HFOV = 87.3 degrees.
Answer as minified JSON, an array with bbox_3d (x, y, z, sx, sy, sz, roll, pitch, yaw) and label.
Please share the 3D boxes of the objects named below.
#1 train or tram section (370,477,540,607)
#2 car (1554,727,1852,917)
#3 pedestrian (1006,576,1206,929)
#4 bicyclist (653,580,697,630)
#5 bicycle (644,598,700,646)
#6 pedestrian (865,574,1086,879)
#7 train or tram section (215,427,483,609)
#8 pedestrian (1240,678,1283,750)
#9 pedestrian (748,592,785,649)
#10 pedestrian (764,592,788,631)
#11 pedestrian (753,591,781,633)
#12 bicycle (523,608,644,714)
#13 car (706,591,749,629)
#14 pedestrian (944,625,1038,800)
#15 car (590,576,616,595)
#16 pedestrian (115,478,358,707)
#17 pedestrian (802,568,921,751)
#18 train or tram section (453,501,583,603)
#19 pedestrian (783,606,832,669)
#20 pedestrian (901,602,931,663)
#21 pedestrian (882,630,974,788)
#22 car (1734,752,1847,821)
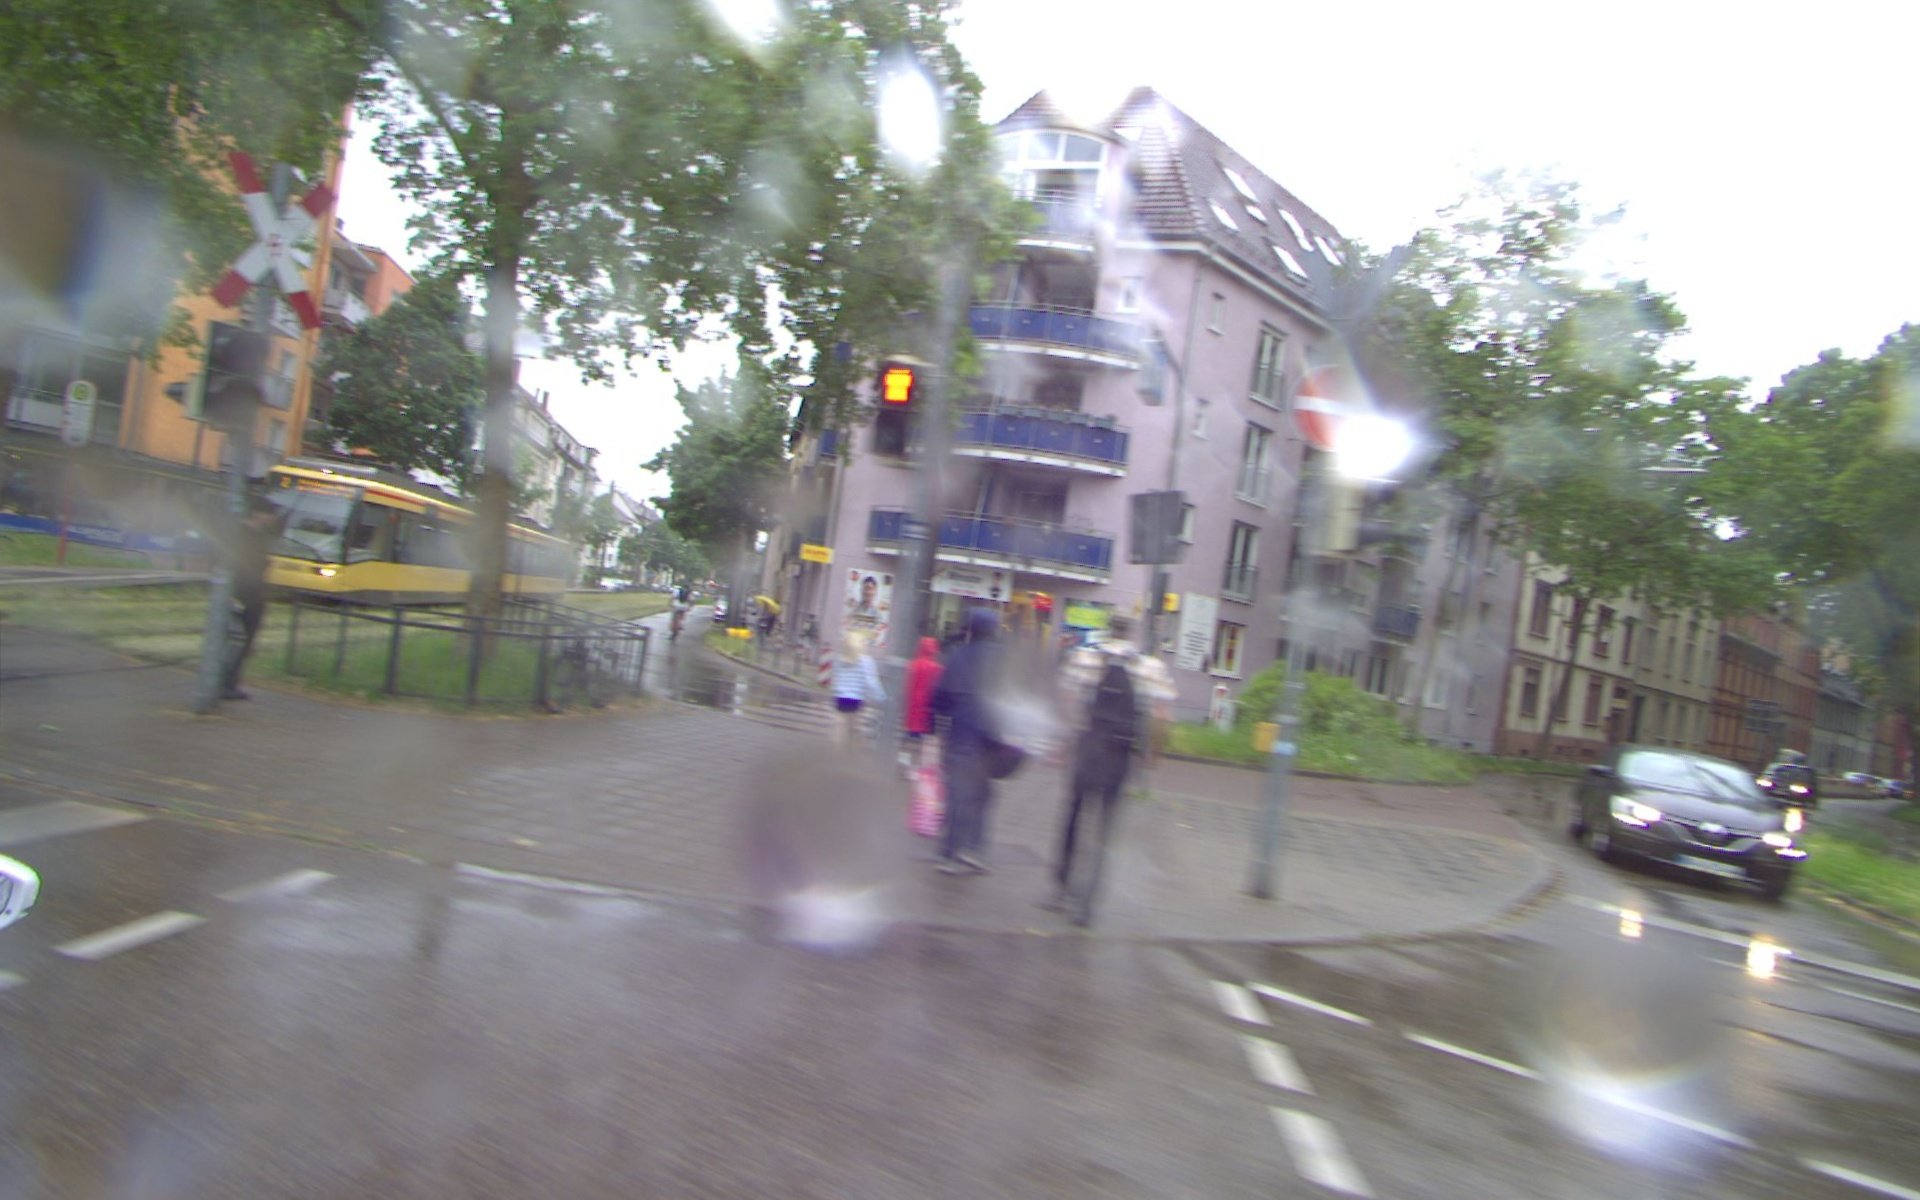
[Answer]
[{"bbox_3d":[-16.486,-1.663,33.567,2.604,3.389,8.360,9,-2,-12],"label":"train or tram section"},{"bbox_3d":[8.840,2.522,12.437,1.959,1.477,4.179,8,-2,25],"label":"car"},{"bbox_3d":[0.900,0.846,5.978,0.797,1.803,0.995,8,0,17],"label":"pedestrian"},{"bbox_3d":[-8.629,0.150,30.414,0.738,1.325,1.064,8,0,-42],"label":"bicyclist"},{"bbox_3d":[-8.737,0.664,30.448,0.747,1.187,2.018,8,0,-39],"label":"bicycle"},{"bbox_3d":[0.140,0.780,6.625,0.977,1.707,1.056,8,0,17],"label":"pedestrian"},{"bbox_3d":[-14.828,-1.690,25.370,2.604,3.407,8.362,9,-2,-11],"label":"train or tram section"},{"bbox_3d":[8.161,3.084,27.196,0.616,1.825,0.636,8,0,-36],"label":"pedestrian"},{"bbox_3d":[-6.343,0.650,32.987,0.941,1.717,0.919,8,0,-14],"label":"pedestrian"},{"bbox_3d":[-8.883,0.546,48.544,0.907,1.717,0.953,8,0,-14],"label":"pedestrian"},{"bbox_3d":[-8.465,0.521,44.123,0.905,1.717,0.955,8,0,-5],"label":"pedestrian"},{"bbox_3d":[-4.308,0.701,11.632,0.438,1.089,1.621,8,-1,9],"label":"bicycle"},{"bbox_3d":[-12.454,0.488,53.883,1.969,1.693,3.990,9,-1,-13],"label":"car"},{"bbox_3d":[0.295,1.071,9.876,0.680,1.566,0.761,8,0,0],"label":"pedestrian"},{"bbox_3d":[-35.796,-1.493,100.932,1.971,1.550,3.987,9,-2,-17],"label":"car"},{"bbox_3d":[-6.535,-0.050,9.158,1.213,1.809,1.039,8,-1,10],"label":"pedestrian"},{"bbox_3d":[-0.954,0.549,9.660,0.863,1.543,1.064,8,0,-7],"label":"pedestrian"},{"bbox_3d":[-18.362,-1.778,42.525,2.604,3.389,9.968,9,-2,-12],"label":"train or tram section"},{"bbox_3d":[-4.254,1.036,28.036,0.982,1.577,0.780,8,-1,-23],"label":"pedestrian"},{"bbox_3d":[-1.223,0.901,27.957,0.464,1.620,0.594,8,-1,13],"label":"pedestrian"},{"bbox_3d":[-0.341,1.056,10.059,0.662,1.398,1.009,8,0,-6],"label":"pedestrian"},{"bbox_3d":[34.244,7.630,41.616,1.963,2.036,4.004,9,-1,17],"label":"car"}]
